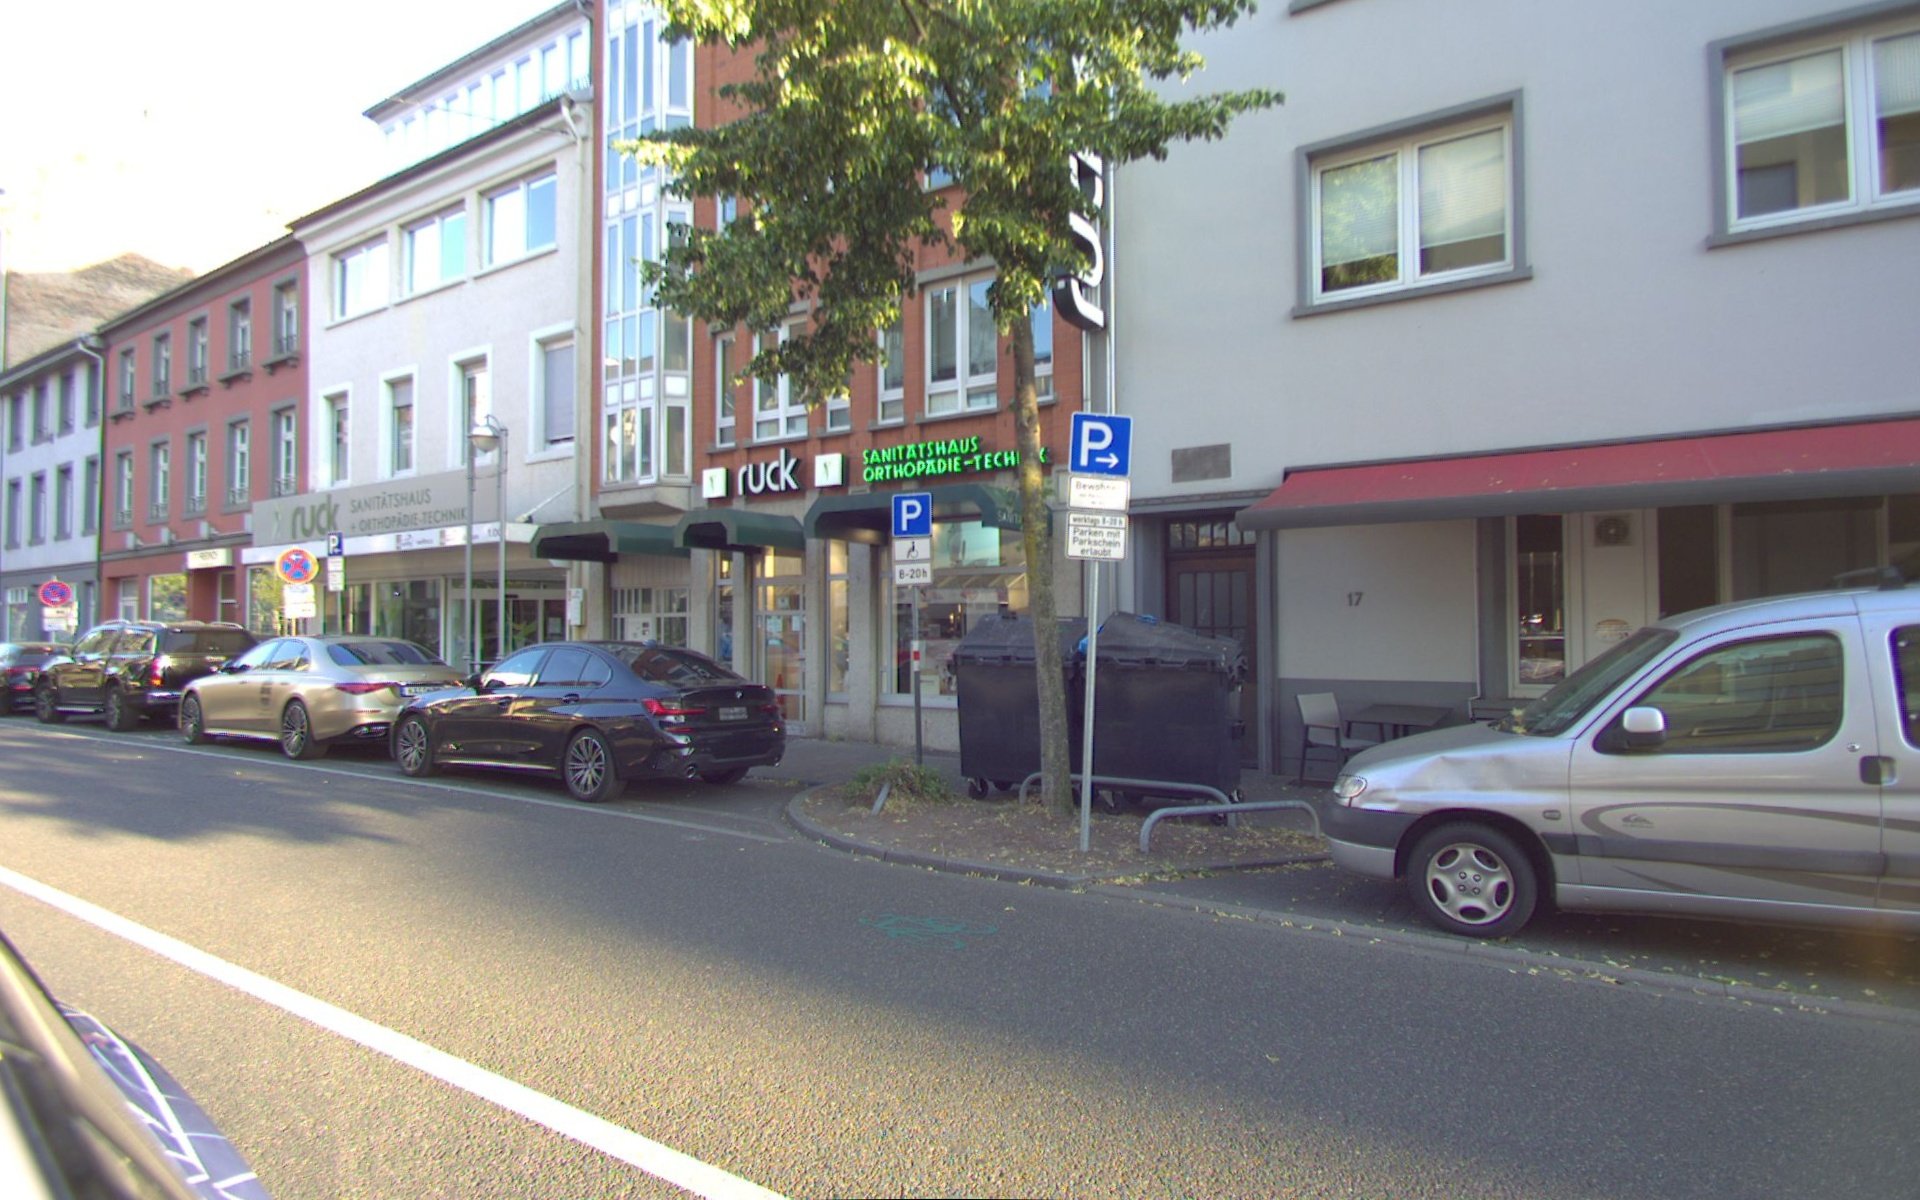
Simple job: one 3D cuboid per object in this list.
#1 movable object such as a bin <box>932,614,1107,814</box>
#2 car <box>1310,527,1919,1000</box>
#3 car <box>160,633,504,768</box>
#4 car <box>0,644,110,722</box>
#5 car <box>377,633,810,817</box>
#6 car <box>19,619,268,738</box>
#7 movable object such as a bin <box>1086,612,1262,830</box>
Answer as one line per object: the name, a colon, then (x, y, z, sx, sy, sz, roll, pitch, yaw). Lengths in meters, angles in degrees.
movable object such as a bin: (0.527, 0.959, 9.013, 1.331, 1.632, 0.775, -1, -1, 30)
car: (3.981, 0.705, 4.987, 4.038, 1.902, 1.657, -1, -4, 31)
car: (-8.452, 1.235, 13.455, 5.094, 1.484, 1.977, -2, -4, 34)
car: (-19.263, 1.655, 20.691, 4.001, 1.448, 1.688, -2, -5, 32)
car: (-3.785, 1.117, 10.166, 4.528, 1.484, 1.706, -2, -5, 33)
car: (-14.040, 1.286, 17.323, 4.921, 1.793, 1.708, -2, -4, 31)
movable object such as a bin: (1.755, 0.931, 8.280, 1.203, 1.632, 0.775, -1, 0, 30)
